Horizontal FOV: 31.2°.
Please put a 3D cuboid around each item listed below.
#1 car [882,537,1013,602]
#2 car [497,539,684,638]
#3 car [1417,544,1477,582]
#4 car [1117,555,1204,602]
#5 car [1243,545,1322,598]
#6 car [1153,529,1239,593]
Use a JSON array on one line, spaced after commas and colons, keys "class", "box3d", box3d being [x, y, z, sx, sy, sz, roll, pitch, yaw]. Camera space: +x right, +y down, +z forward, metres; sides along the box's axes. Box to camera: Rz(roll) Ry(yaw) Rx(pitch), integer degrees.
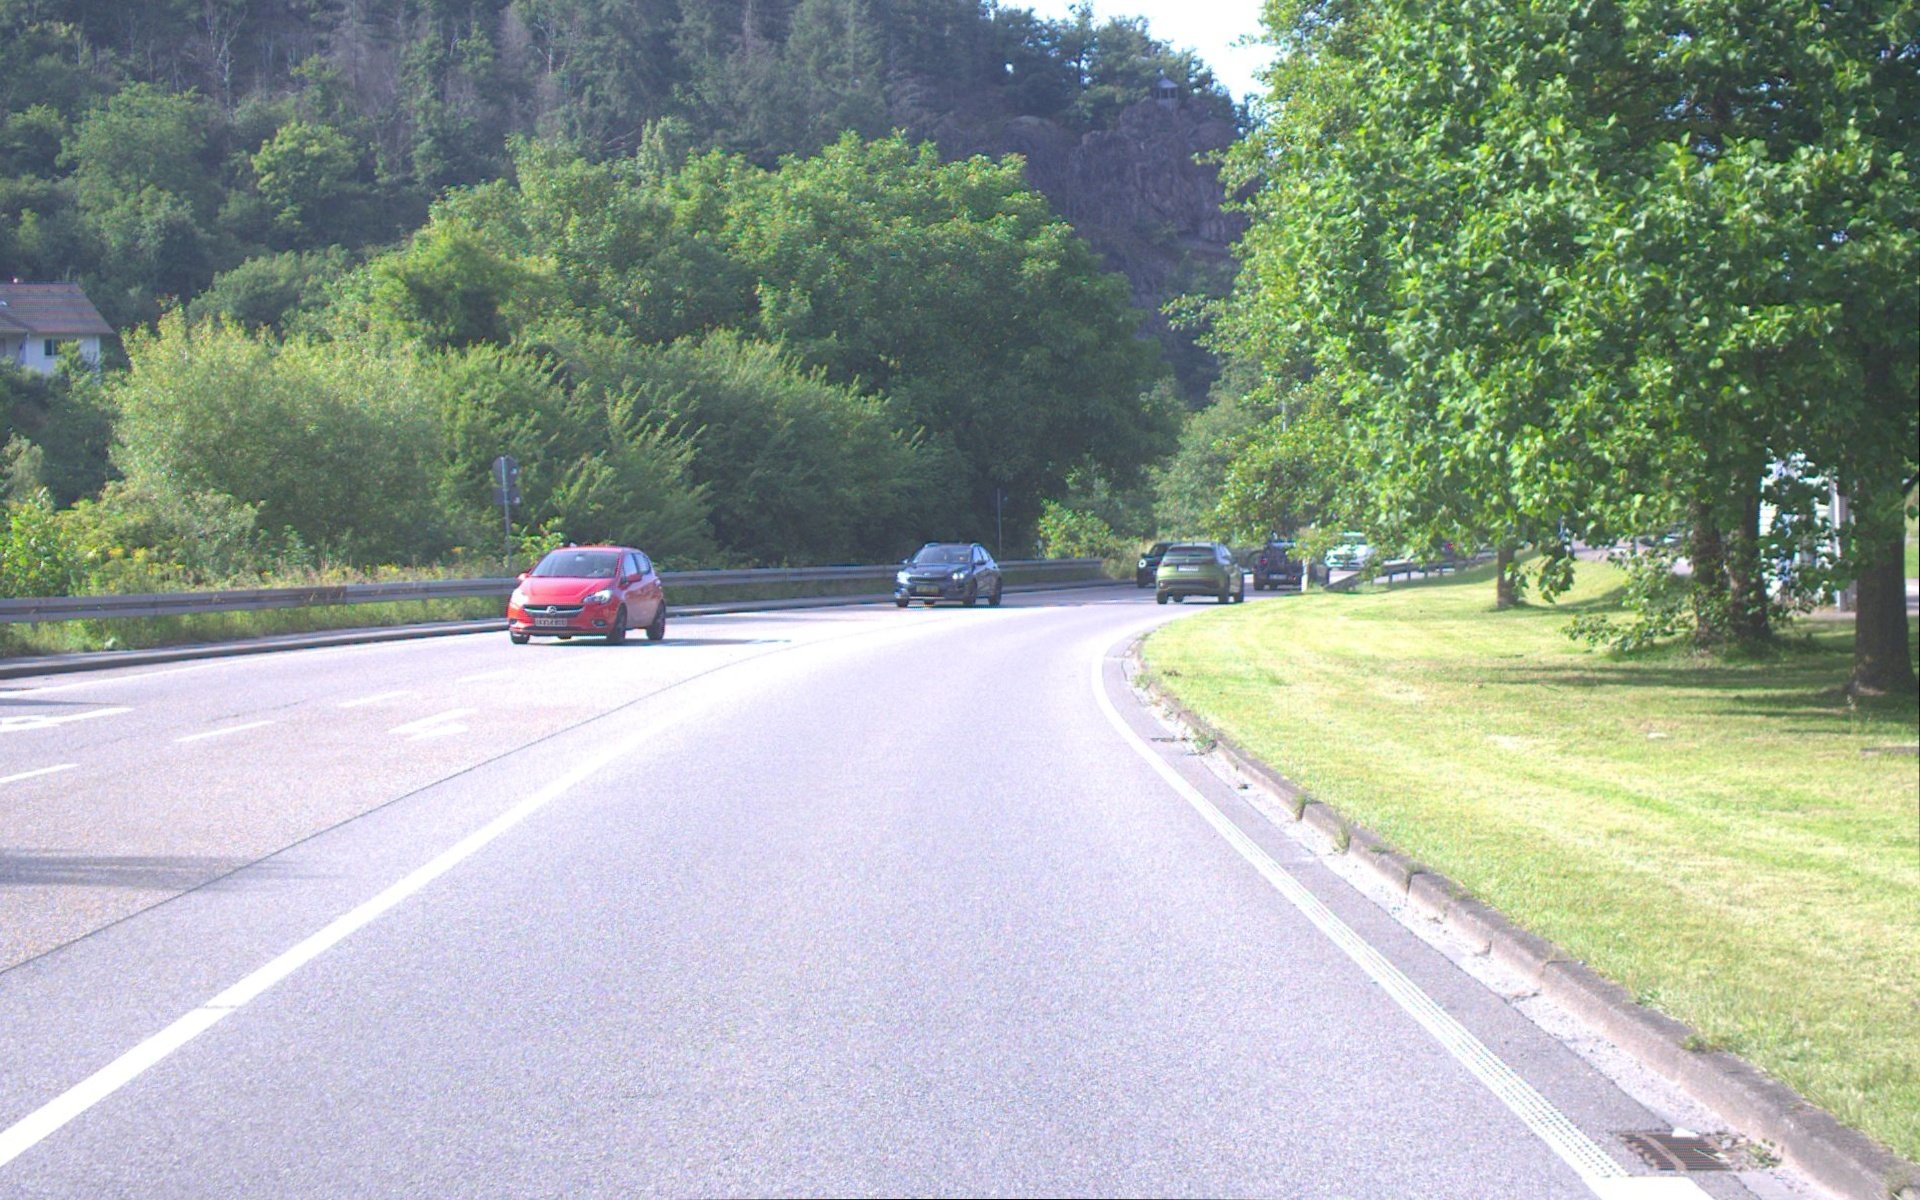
[{"class": "car", "box3d": [-0.253, -0.737, 80.546, 1.852, 1.464, 4.539, 1, 1, 16]}, {"class": "car", "box3d": [-5.613, -0.209, 52.700, 1.676, 1.455, 4.200, 0, 1, 11]}, {"class": "car", "box3d": [19.542, -1.496, 137.863, 1.808, 1.448, 3.644, -2, 1, 16]}, {"class": "car", "box3d": [6.237, -0.690, 106.561, 1.695, 1.397, 4.198, 0, 1, 18]}, {"class": "car", "box3d": [9.636, -0.858, 102.521, 1.841, 1.454, 3.711, -2, 1, 13]}, {"class": "car", "box3d": [5.769, -0.963, 83.819, 1.729, 1.452, 3.409, -2, 1, 9]}]
